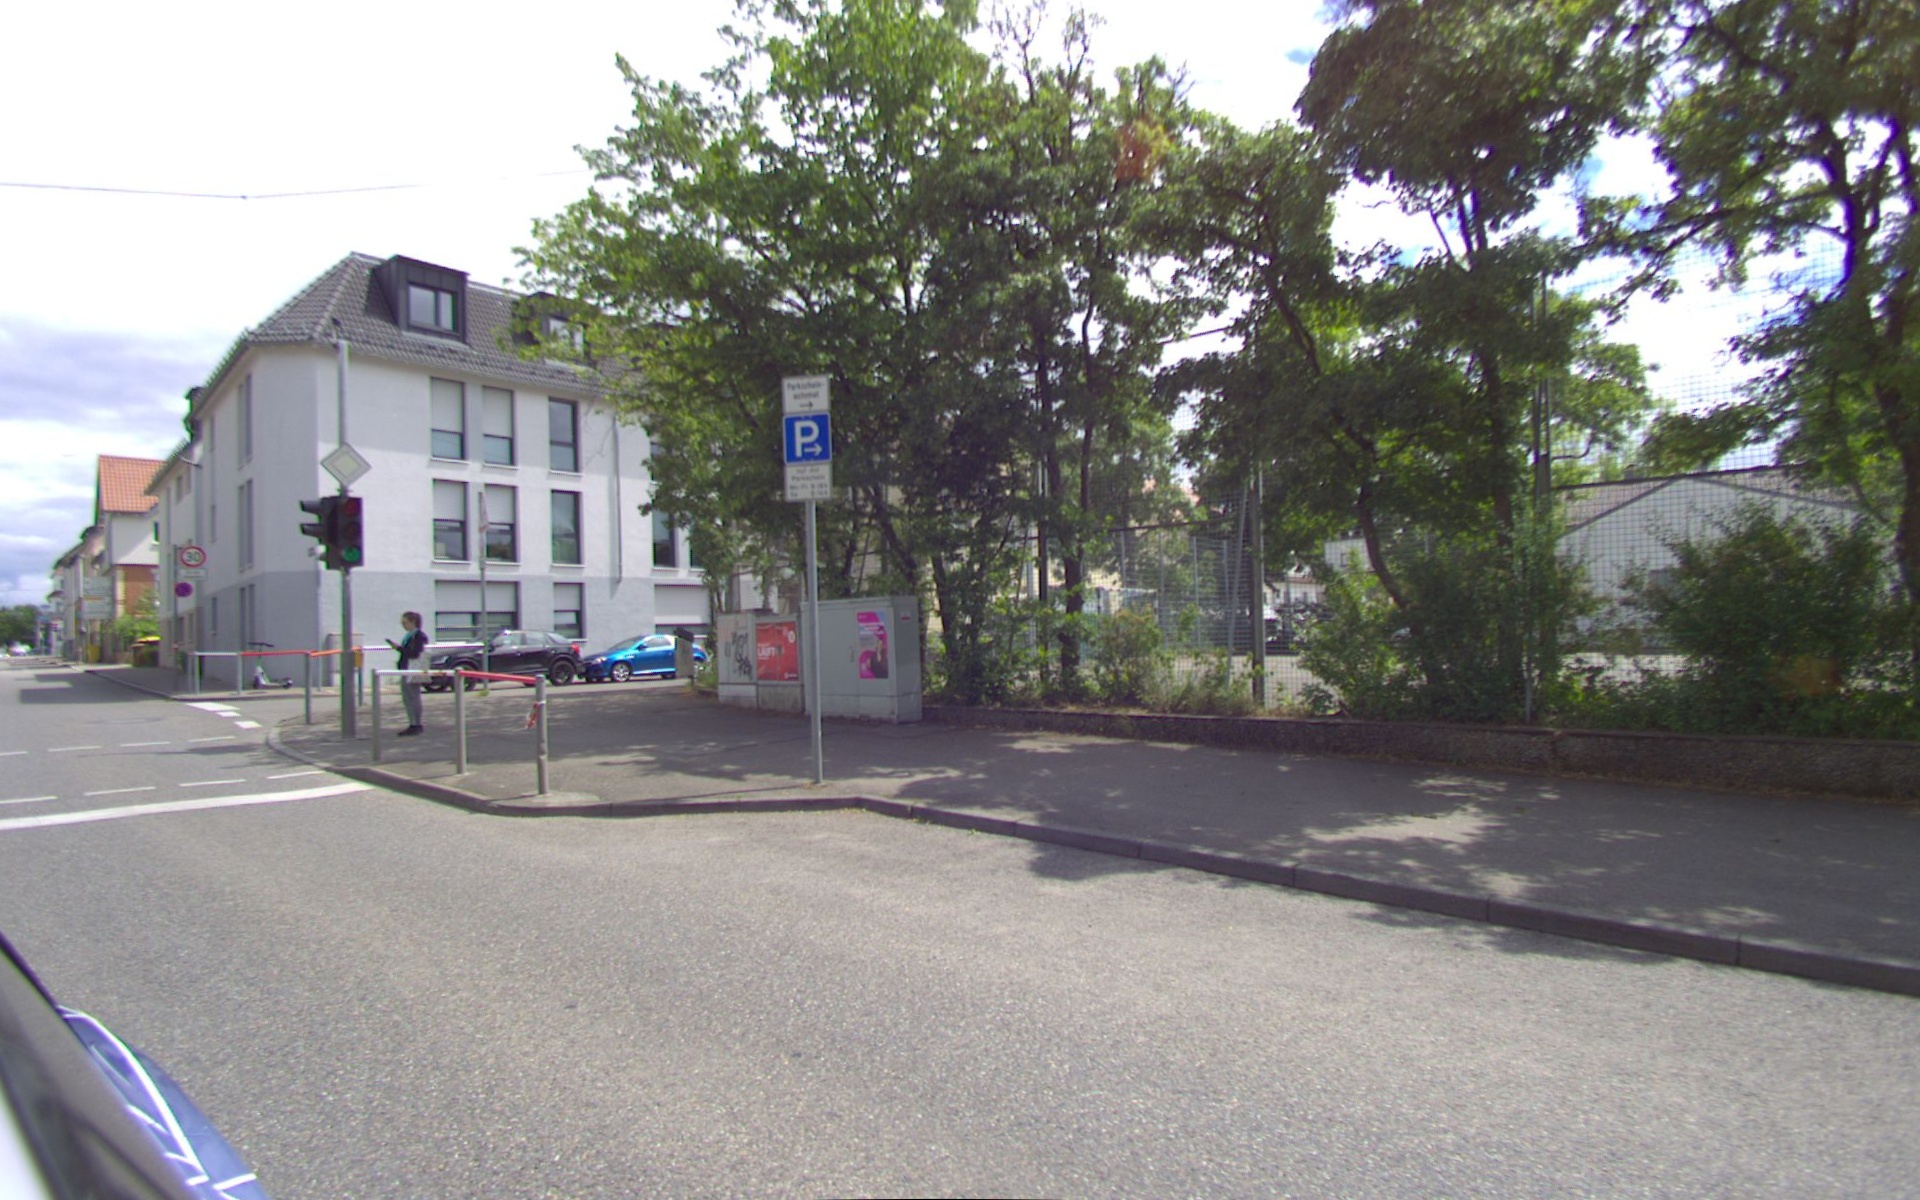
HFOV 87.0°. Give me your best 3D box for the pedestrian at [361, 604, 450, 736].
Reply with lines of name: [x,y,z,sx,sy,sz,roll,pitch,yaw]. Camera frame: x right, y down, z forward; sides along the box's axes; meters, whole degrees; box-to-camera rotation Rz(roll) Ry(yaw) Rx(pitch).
pedestrian: [-7.052,0.875,12.898,0.663,1.609,0.772,-2,-1,4]

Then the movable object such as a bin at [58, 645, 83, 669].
movable object such as a bin: [-51.932,3.306,59.097,0.801,1.168,0.759,4,13,35]

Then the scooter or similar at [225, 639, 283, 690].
scooter or similar: [-17.678,1.610,25.341,1.295,1.271,0.488,-1,-2,16]

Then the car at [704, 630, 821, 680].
car: [-6.398,1.762,33.045,1.548,1.484,3.565,-6,-5,38]

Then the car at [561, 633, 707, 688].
car: [-9.408,1.734,29.401,1.601,1.411,3.742,-5,-4,42]

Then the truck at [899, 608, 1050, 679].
truck: [0.547,1.324,31.997,2.143,2.050,4.984,-2,-2,40]

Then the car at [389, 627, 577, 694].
car: [-12.132,1.516,25.924,1.857,1.488,3.947,-5,-4,40]

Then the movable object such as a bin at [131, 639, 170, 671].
movable object such as a bin: [-39.028,2.649,48.798,1.170,1.457,1.320,-3,-2,41]

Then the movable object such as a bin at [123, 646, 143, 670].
movable object such as a bin: [-38.547,2.711,47.157,0.660,1.083,0.634,-3,-2,42]

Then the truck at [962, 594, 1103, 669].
truck: [3.354,1.404,45.033,2.501,2.949,7.274,-7,-5,37]
